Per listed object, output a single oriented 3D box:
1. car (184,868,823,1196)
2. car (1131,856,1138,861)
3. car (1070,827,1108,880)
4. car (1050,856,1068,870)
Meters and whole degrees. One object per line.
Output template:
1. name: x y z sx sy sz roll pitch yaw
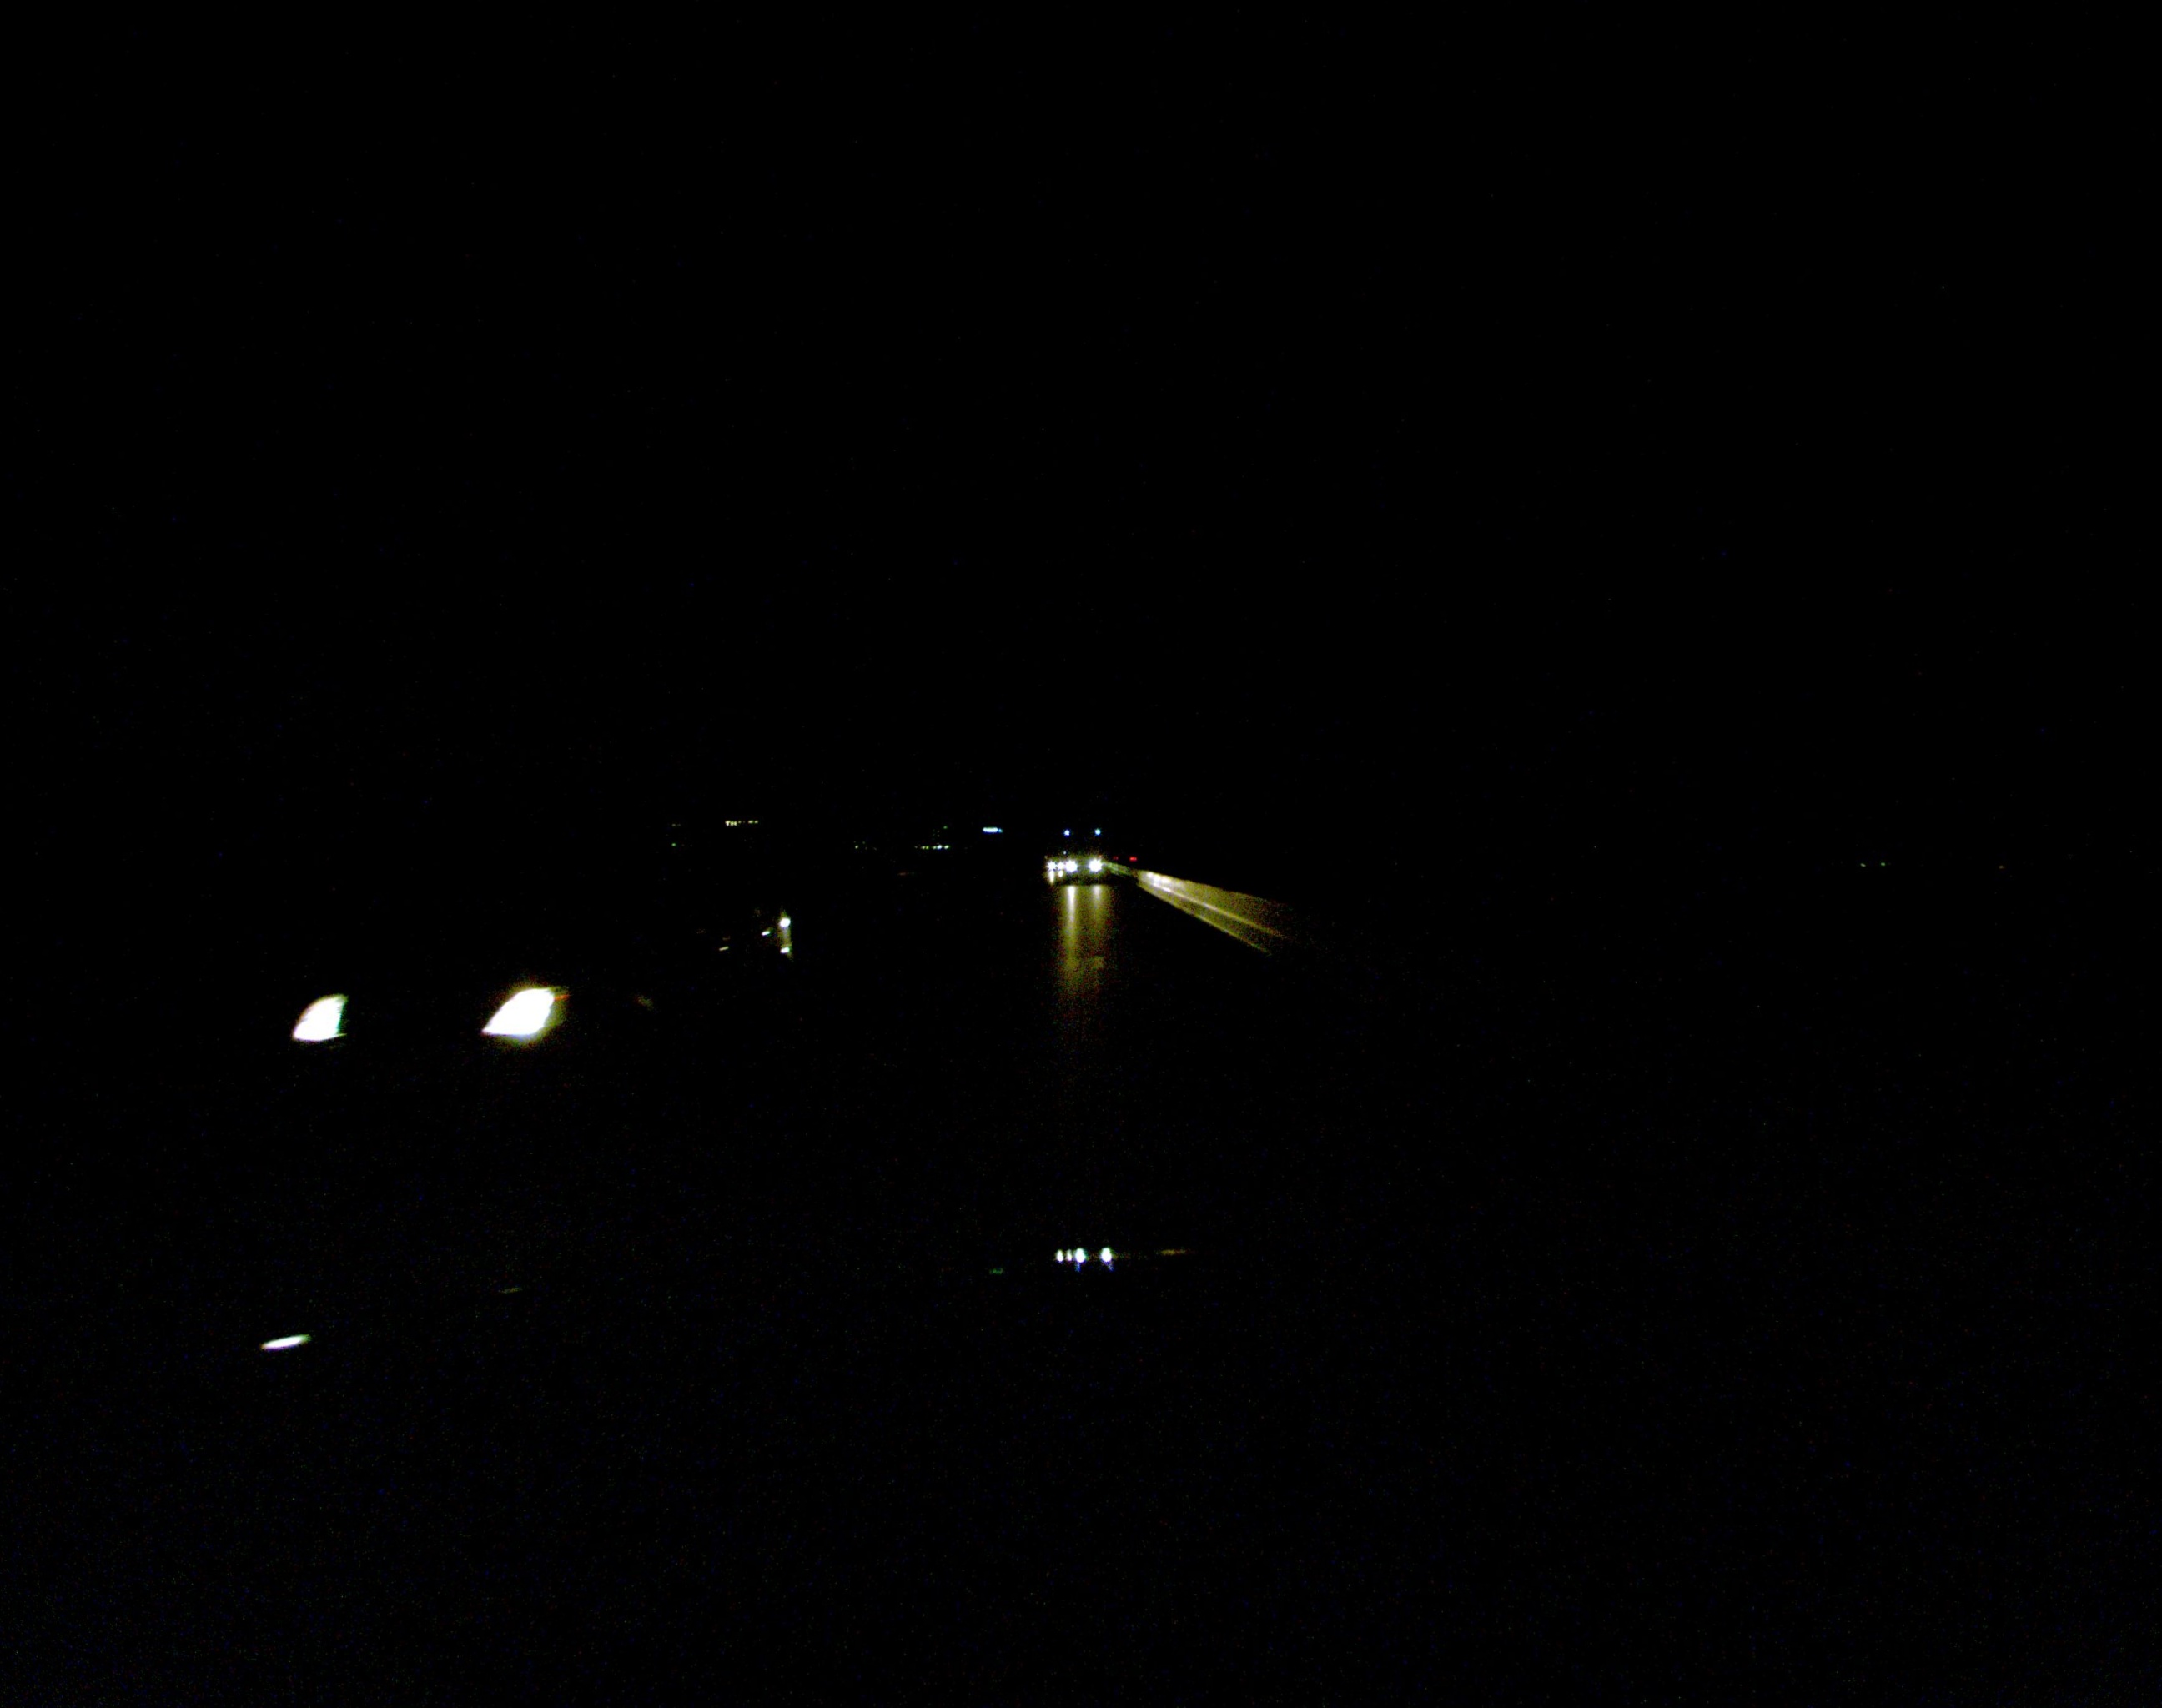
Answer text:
1. car: -3.742 0.964 6.167 1.650 1.587 4.510 -1 0 1
2. car: 18.769 1.570 264.827 1.999 1.411 4.982 1 0 -1
3. car: 0.518 -0.040 50.631 2.255 3.205 6.878 -2 0 1
4. car: -2.663 1.094 92.160 1.998 1.575 4.128 -2 0 1
